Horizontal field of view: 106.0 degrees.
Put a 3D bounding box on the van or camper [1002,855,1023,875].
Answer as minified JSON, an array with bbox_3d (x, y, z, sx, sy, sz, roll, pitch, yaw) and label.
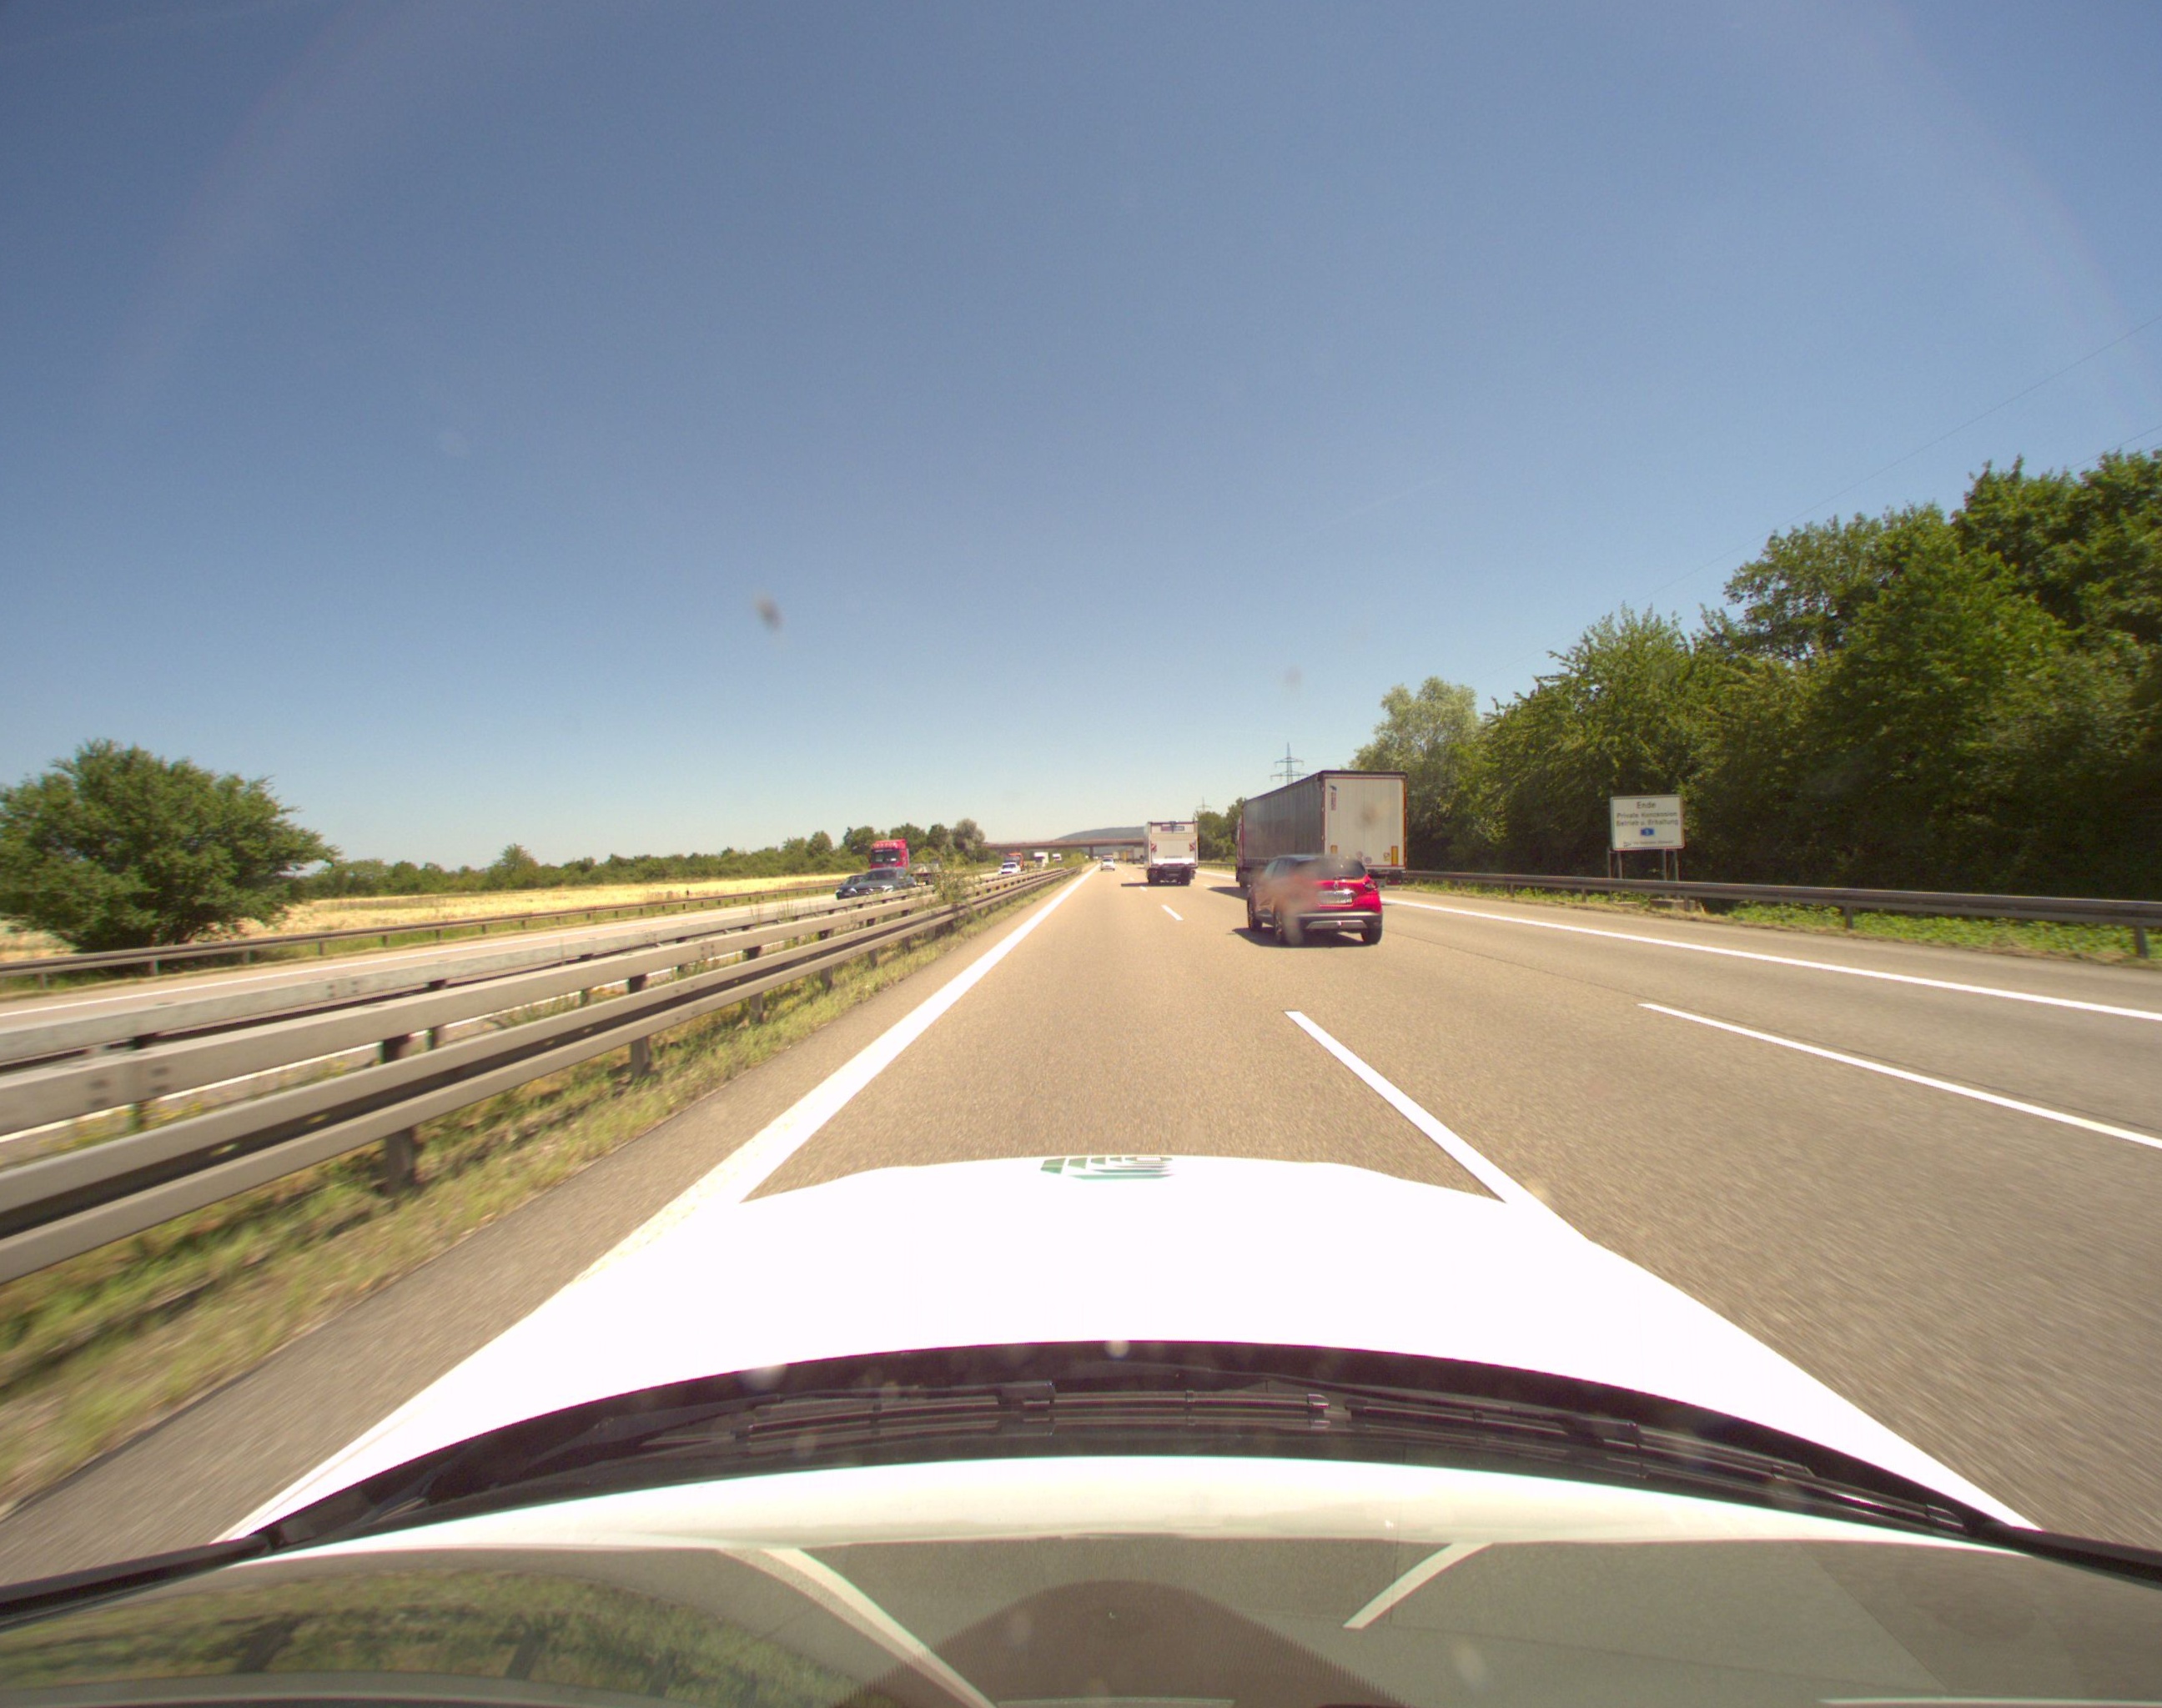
[{"bbox_3d":[-9.578,1.482,114.914,2.163,2.588,5.874,-4,-1,1],"label":"van or camper"}]

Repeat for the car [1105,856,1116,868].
[{"bbox_3d":[4.766,1.217,131.595,1.754,1.850,4.003,-2,0,2],"label":"car"}]

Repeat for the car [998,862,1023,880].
[{"bbox_3d":[-6.649,1.569,76.845,1.797,1.568,4.097,-4,0,2],"label":"car"}]

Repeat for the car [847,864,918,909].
[{"bbox_3d":[-8.200,1.314,34.021,1.802,1.647,3.962,-3,0,1],"label":"car"}]

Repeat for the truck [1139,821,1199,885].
[{"bbox_3d":[4.949,-0.022,47.255,2.772,3.373,8.130,-1,0,2],"label":"truck"}]

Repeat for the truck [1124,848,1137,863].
[{"bbox_3d":[16.133,0.476,266.042,3.507,4.416,14.597,-3,0,2],"label":"truck"}]

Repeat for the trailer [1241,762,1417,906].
[{"bbox_3d":[8.618,-0.570,30.702,2.778,4.164,13.579,-1,0,2],"label":"trailer"}]

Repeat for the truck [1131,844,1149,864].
[{"bbox_3d":[13.849,-0.026,193.702,3.507,4.416,14.597,-3,0,2],"label":"truck"}]

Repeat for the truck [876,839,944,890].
[{"bbox_3d":[-15.149,0.883,73.563,2.751,4.014,13.526,-4,0,1],"label":"truck"}]

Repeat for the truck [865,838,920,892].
[{"bbox_3d":[-15.307,0.854,66.465,2.751,4.014,5.752,-4,0,1],"label":"truck"}]

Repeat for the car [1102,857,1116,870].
[{"bbox_3d":[3.356,1.101,98.455,1.601,1.467,4.003,-2,0,2],"label":"car"}]

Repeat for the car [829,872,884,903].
[{"bbox_3d":[-11.959,1.756,43.633,1.727,1.451,3.678,-4,0,2],"label":"car"}]

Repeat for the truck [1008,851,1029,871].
[{"bbox_3d":[-12.048,1.346,157.227,2.642,3.661,10.193,-4,0,2],"label":"truck"}]

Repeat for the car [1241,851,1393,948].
[{"bbox_3d":[4.260,0.750,15.332,1.796,1.545,4.002,-1,0,2],"label":"car"}]

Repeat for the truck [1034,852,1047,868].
[{"bbox_3d":[-10.426,1.468,208.767,2.670,4.014,5.757,-3,0,1],"label":"truck"}]

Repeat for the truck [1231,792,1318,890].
[{"bbox_3d":[8.834,-0.544,37.790,2.784,4.164,5.725,-1,0,2],"label":"truck"}]
